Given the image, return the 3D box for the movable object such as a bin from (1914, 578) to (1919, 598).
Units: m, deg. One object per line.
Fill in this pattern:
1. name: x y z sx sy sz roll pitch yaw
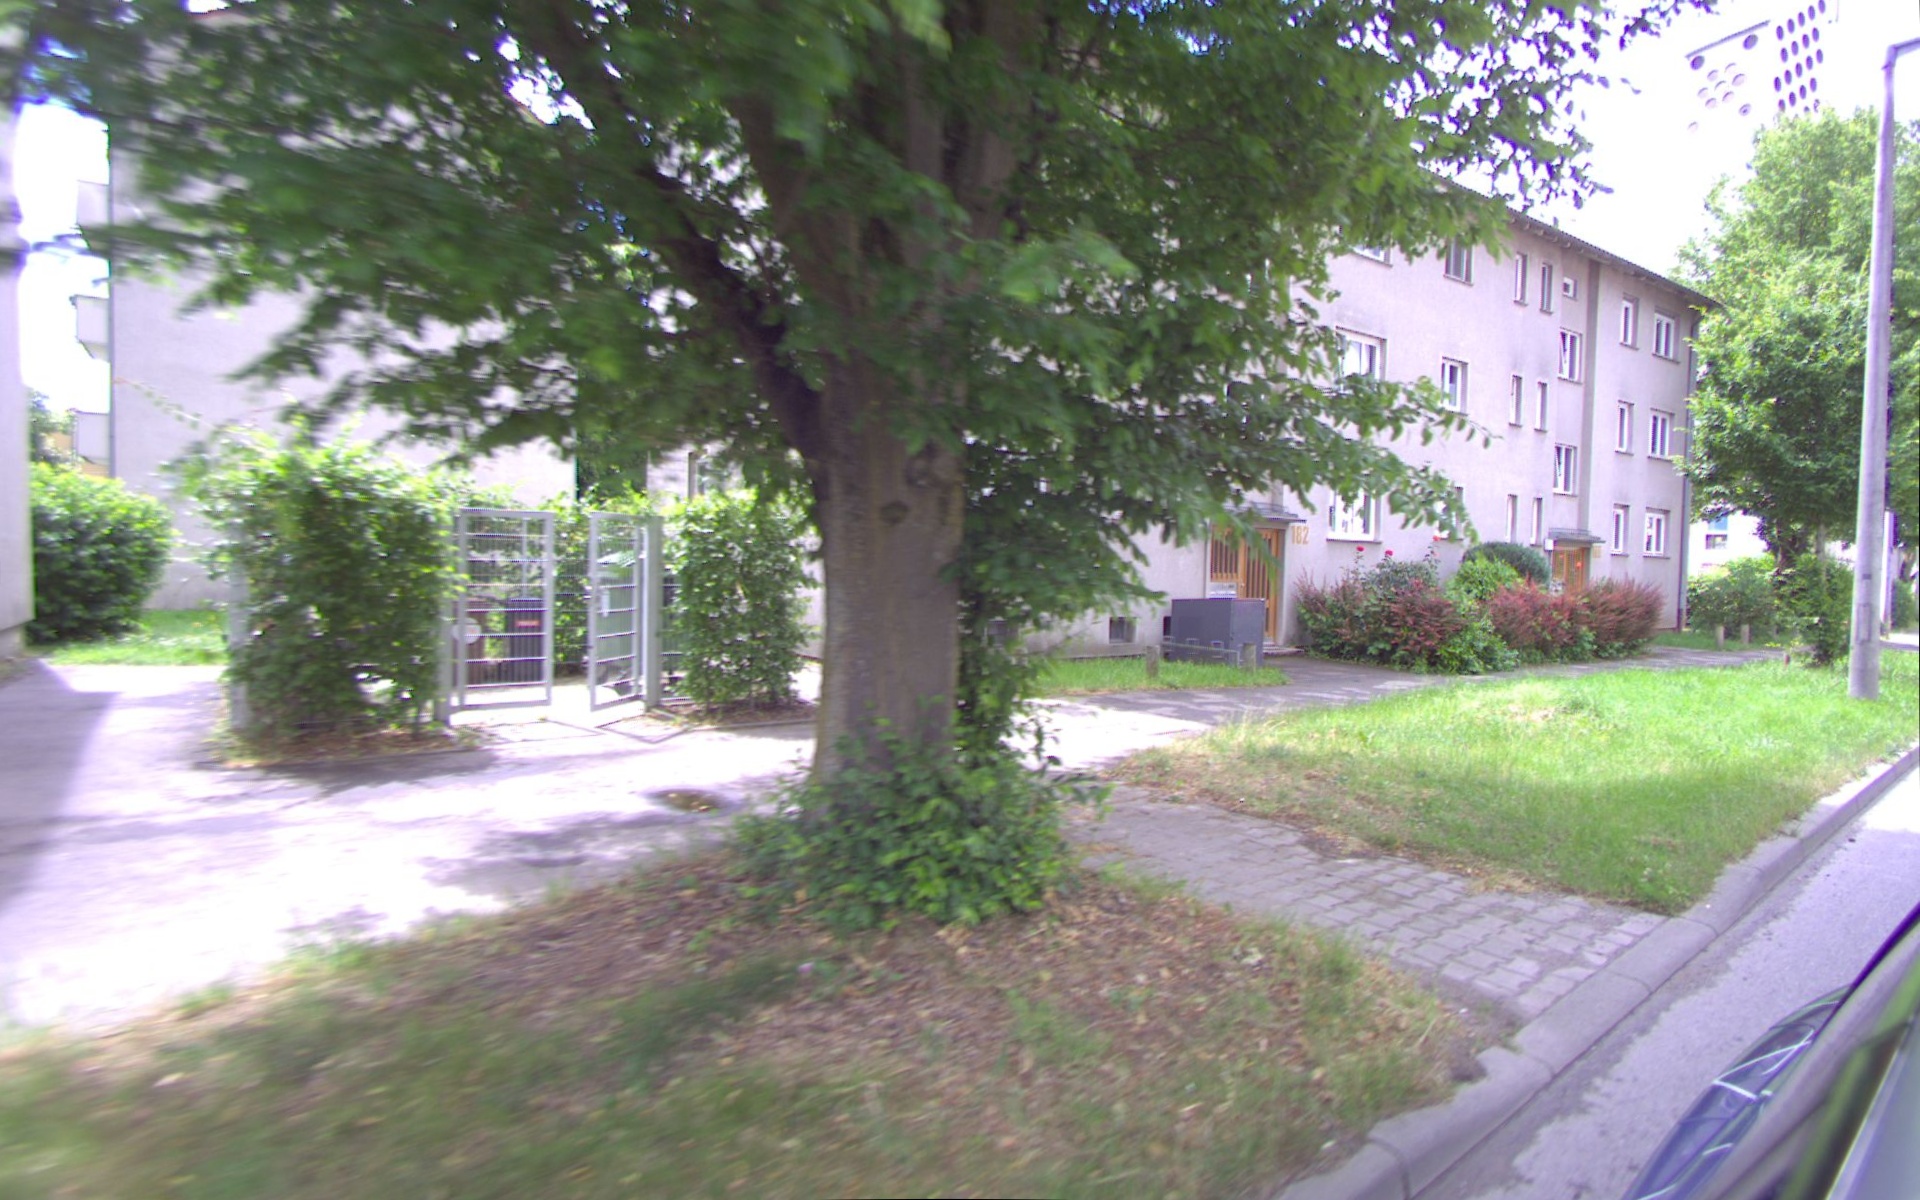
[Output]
1. movable object such as a bin: 99.455 -1.127 102.834 1.959 2.038 2.973 2 2 -6

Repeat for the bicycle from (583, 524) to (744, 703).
1. bicycle: -2.899 0.088 9.837 1.052 1.593 1.351 0 2 -38
